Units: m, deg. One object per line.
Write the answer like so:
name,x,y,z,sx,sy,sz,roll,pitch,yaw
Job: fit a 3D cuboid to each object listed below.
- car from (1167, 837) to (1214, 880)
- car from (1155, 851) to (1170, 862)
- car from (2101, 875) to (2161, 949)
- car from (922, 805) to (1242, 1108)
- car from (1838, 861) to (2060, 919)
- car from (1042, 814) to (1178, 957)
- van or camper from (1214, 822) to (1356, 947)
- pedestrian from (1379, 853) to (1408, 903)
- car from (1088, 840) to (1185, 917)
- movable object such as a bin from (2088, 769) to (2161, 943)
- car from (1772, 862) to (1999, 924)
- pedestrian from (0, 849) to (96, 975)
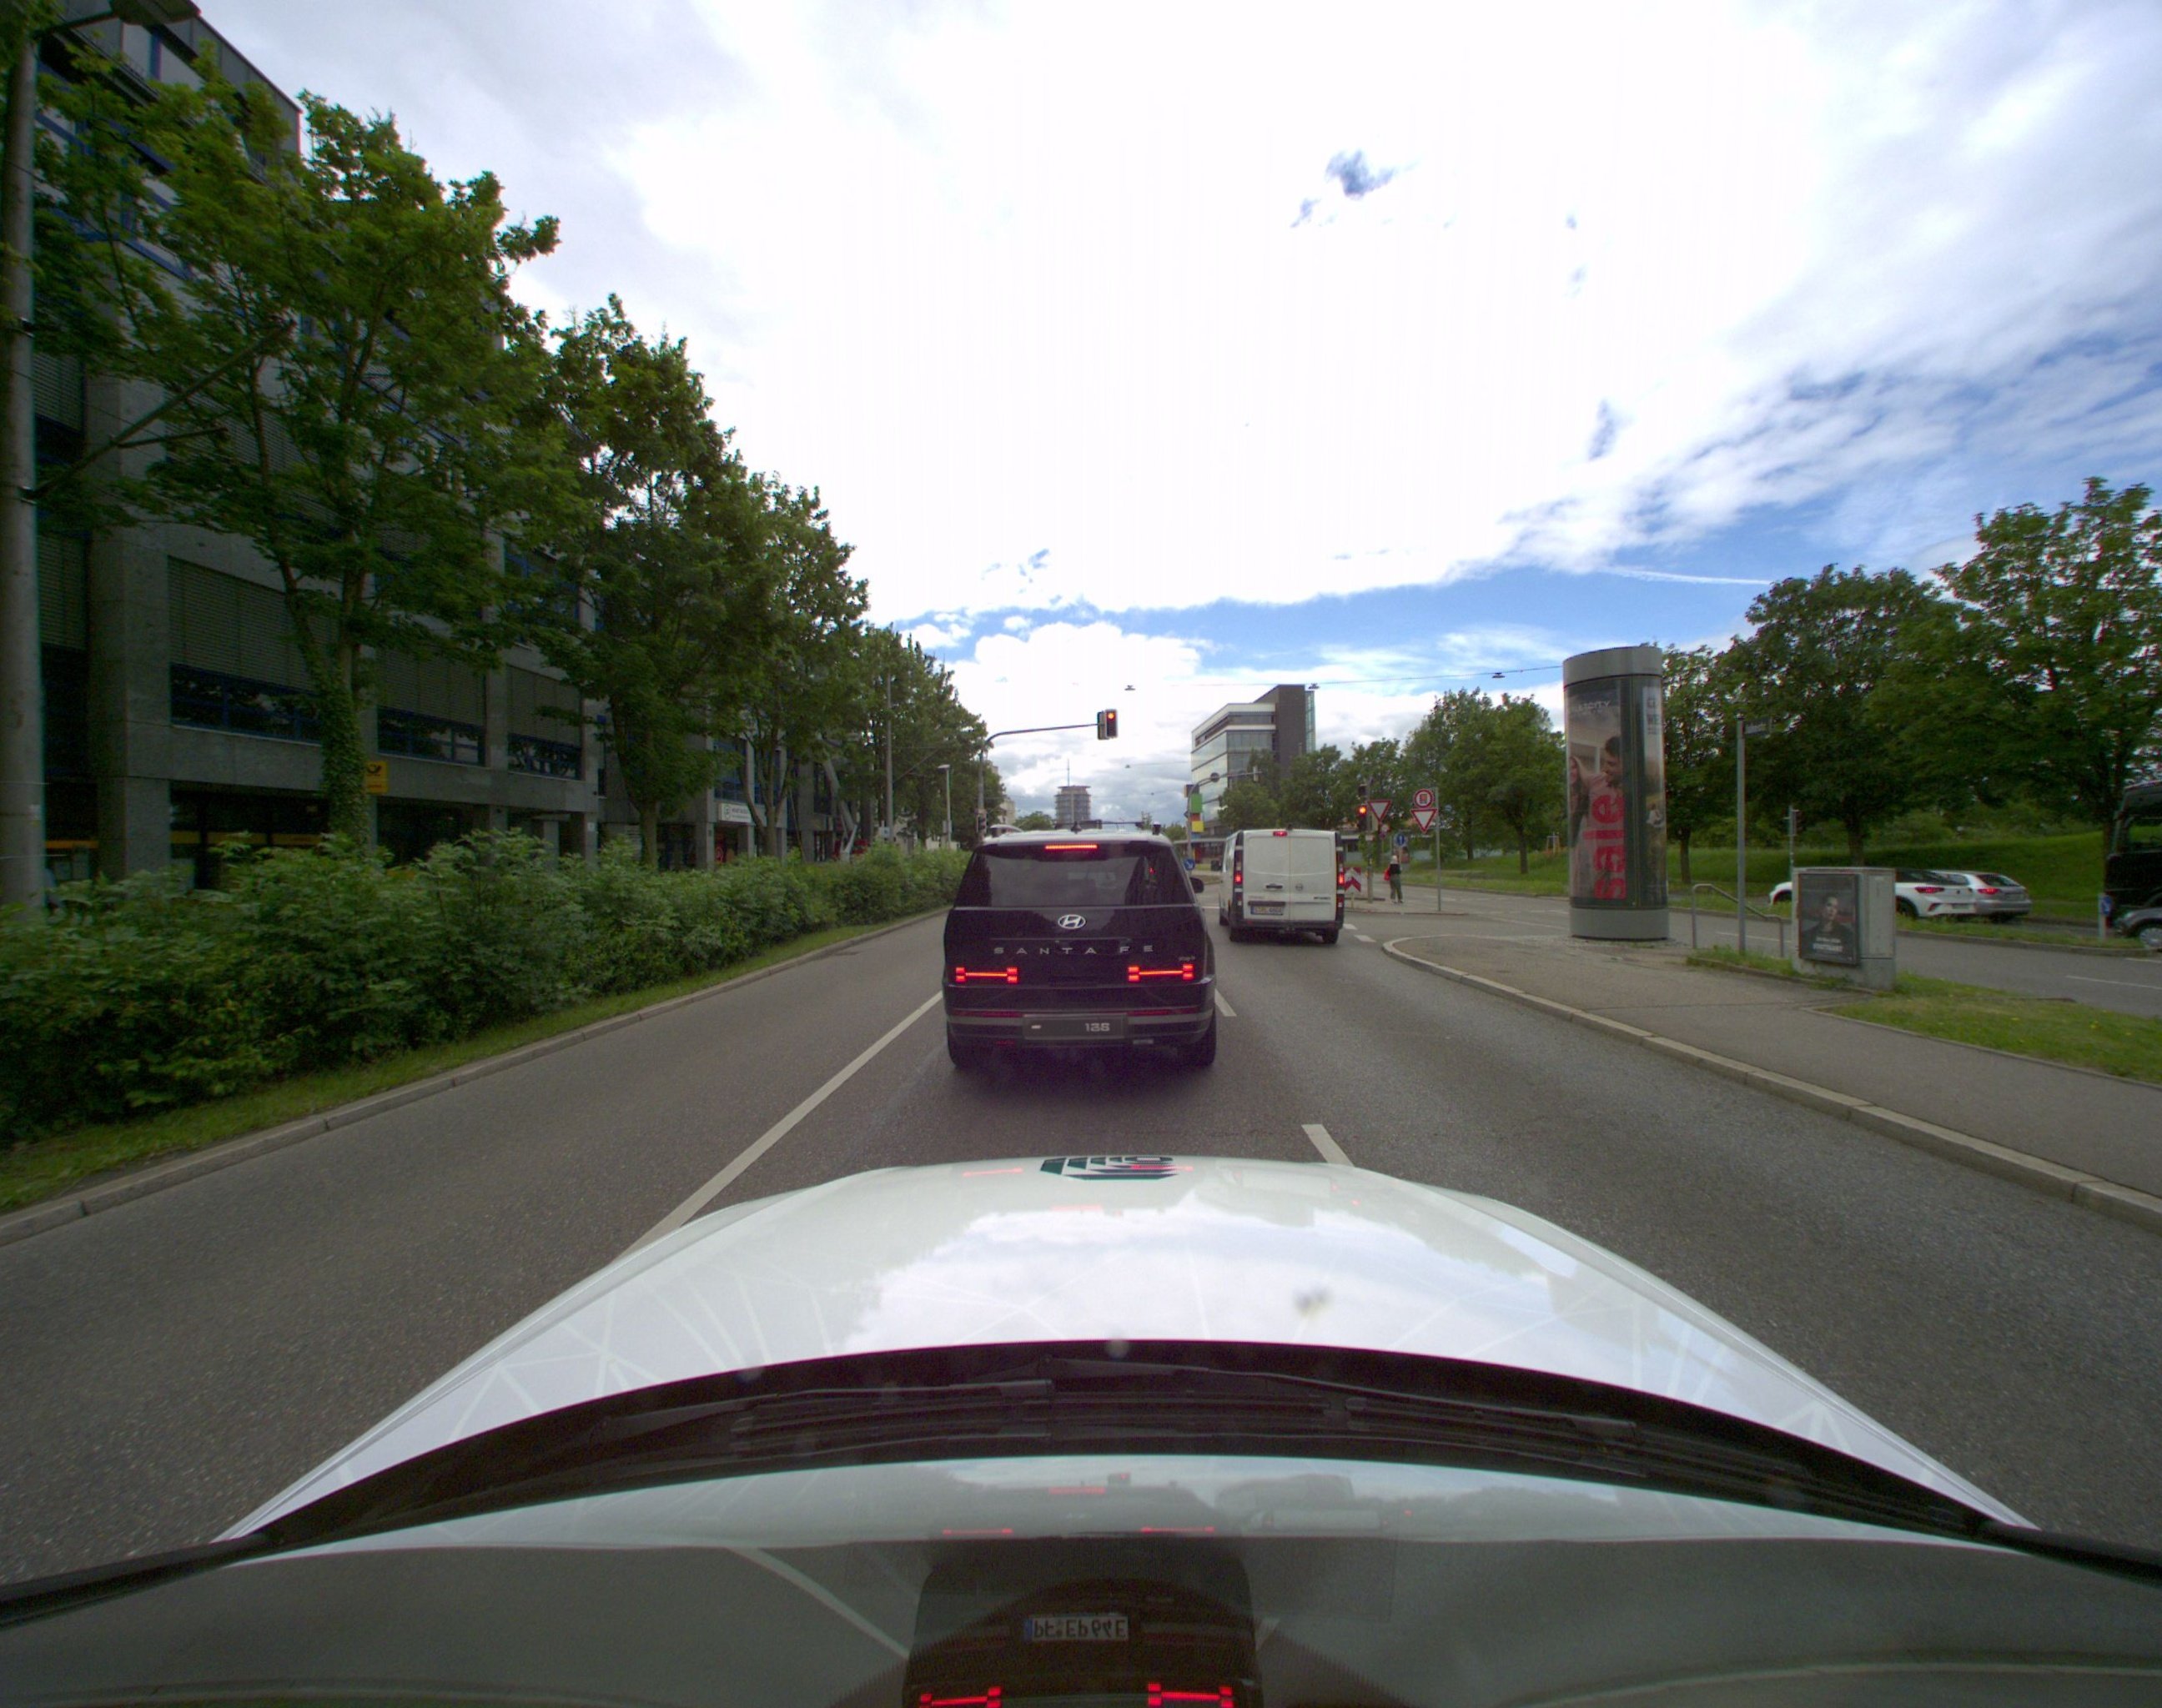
car,5.408,0.240,40.616,1.985,2.014,4.003,-1,-1,3
car,13.176,0.427,131.711,1.987,1.684,3.998,-1,-1,-1
car,23.001,1.209,15.522,1.994,1.453,3.985,1,0,-11
car,0.069,0.611,6.786,1.862,1.760,3.881,-1,0,2
car,25.097,0.982,23.771,1.994,1.453,3.985,1,0,-11
car,0.480,0.458,13.629,1.908,2.003,3.881,-1,0,2
van or camper,3.673,0.495,15.491,1.983,2.013,4.660,-1,0,6
pedestrian,10.253,0.774,26.717,0.744,1.584,0.567,1,0,-38
car,1.515,0.579,20.455,1.764,1.717,4.353,-1,-1,12
movable object such as a bin,26.256,0.001,15.503,2.860,3.903,8.536,-1,-1,-11
car,21.763,1.002,22.274,1.994,1.453,3.985,1,0,-11
pedestrian,-16.146,0.877,12.655,0.771,1.894,0.731,-1,-1,1
